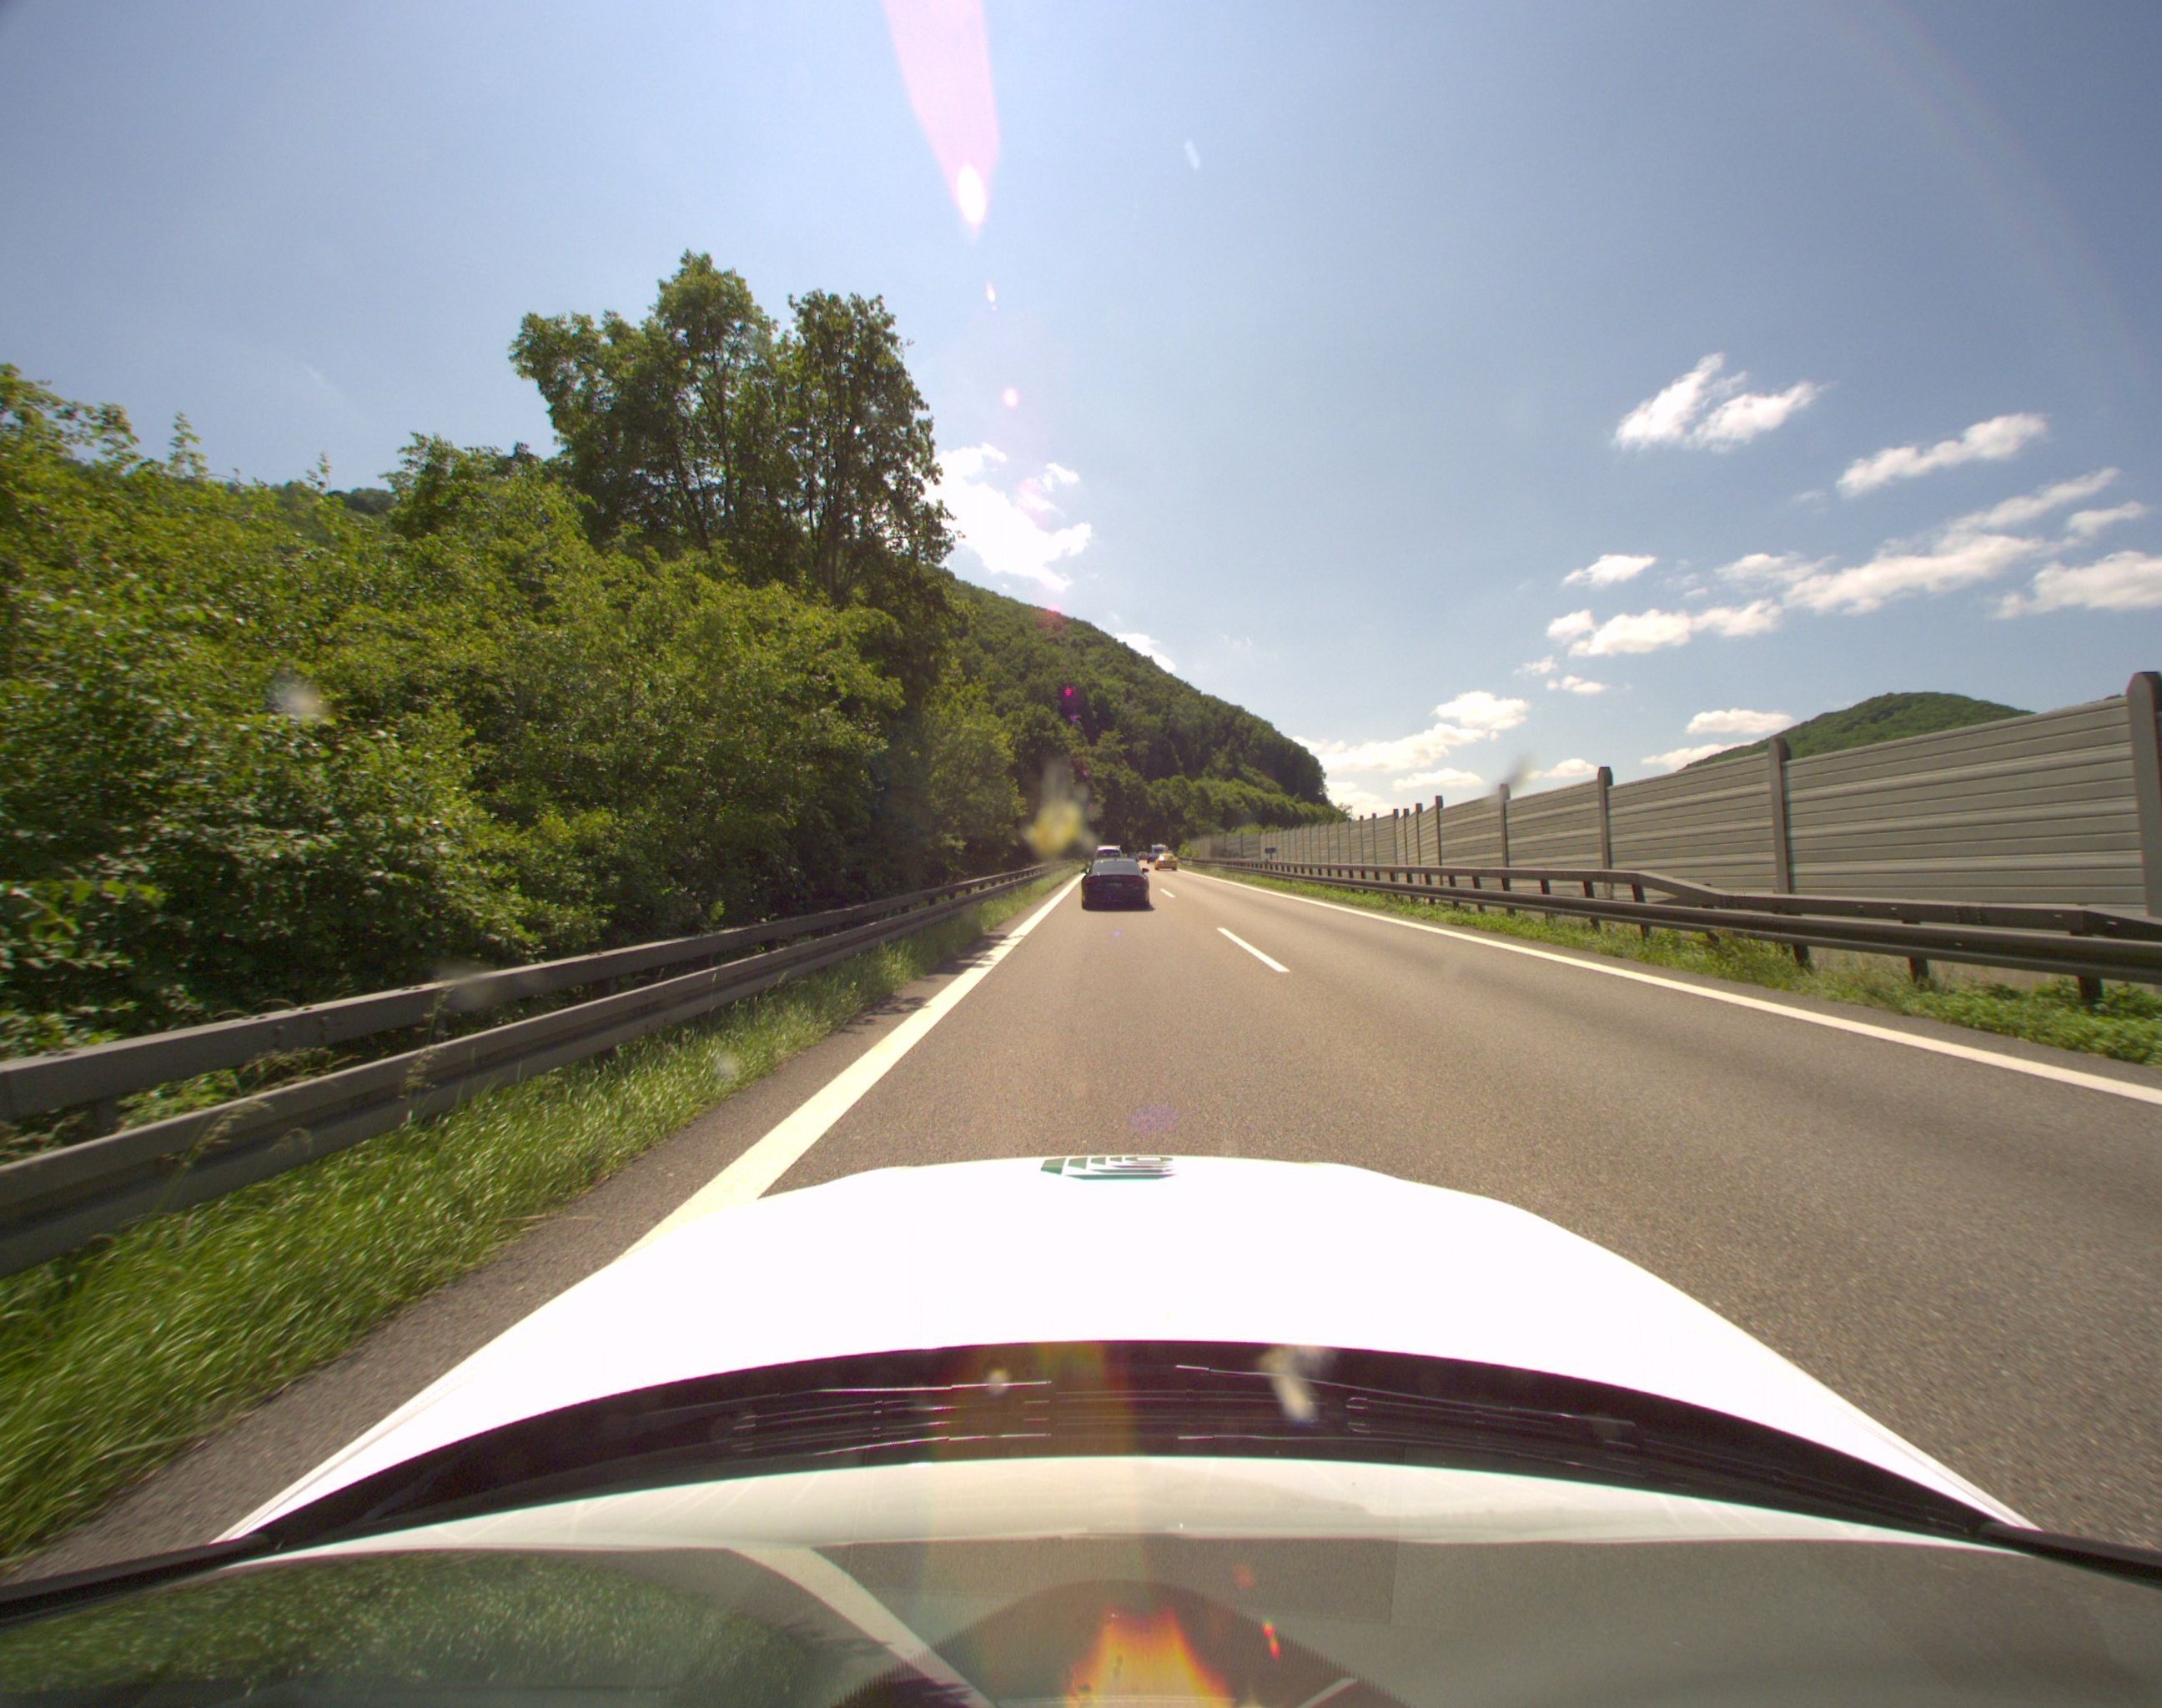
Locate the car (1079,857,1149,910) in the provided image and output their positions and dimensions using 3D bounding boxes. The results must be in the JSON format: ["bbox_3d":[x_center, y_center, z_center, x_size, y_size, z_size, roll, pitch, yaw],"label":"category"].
[{"bbox_3d":[0.946,0.800,23.626,1.830,1.349,4.002,-1,0,2],"label":"car"}]

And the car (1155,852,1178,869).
[{"bbox_3d":[7.552,0.572,72.347,1.855,1.488,4.003,-1,0,3],"label":"car"}]

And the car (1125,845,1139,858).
[{"bbox_3d":[8.080,-0.309,129.648,1.986,2.014,4.001,-1,0,2],"label":"car"}]

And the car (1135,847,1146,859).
[{"bbox_3d":[10.740,-0.156,146.180,1.984,2.014,4.005,-1,0,5],"label":"car"}]

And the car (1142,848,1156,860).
[{"bbox_3d":[9.360,-0.021,111.827,1.766,1.637,4.001,0,0,2],"label":"car"}]

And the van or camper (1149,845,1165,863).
[{"bbox_3d":[12.543,0.017,134.926,2.444,2.918,6.132,-1,0,4],"label":"van or camper"}]

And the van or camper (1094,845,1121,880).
[{"bbox_3d":[1.474,0.459,44.653,1.386,1.816,4.002,-1,0,2],"label":"van or camper"}]
